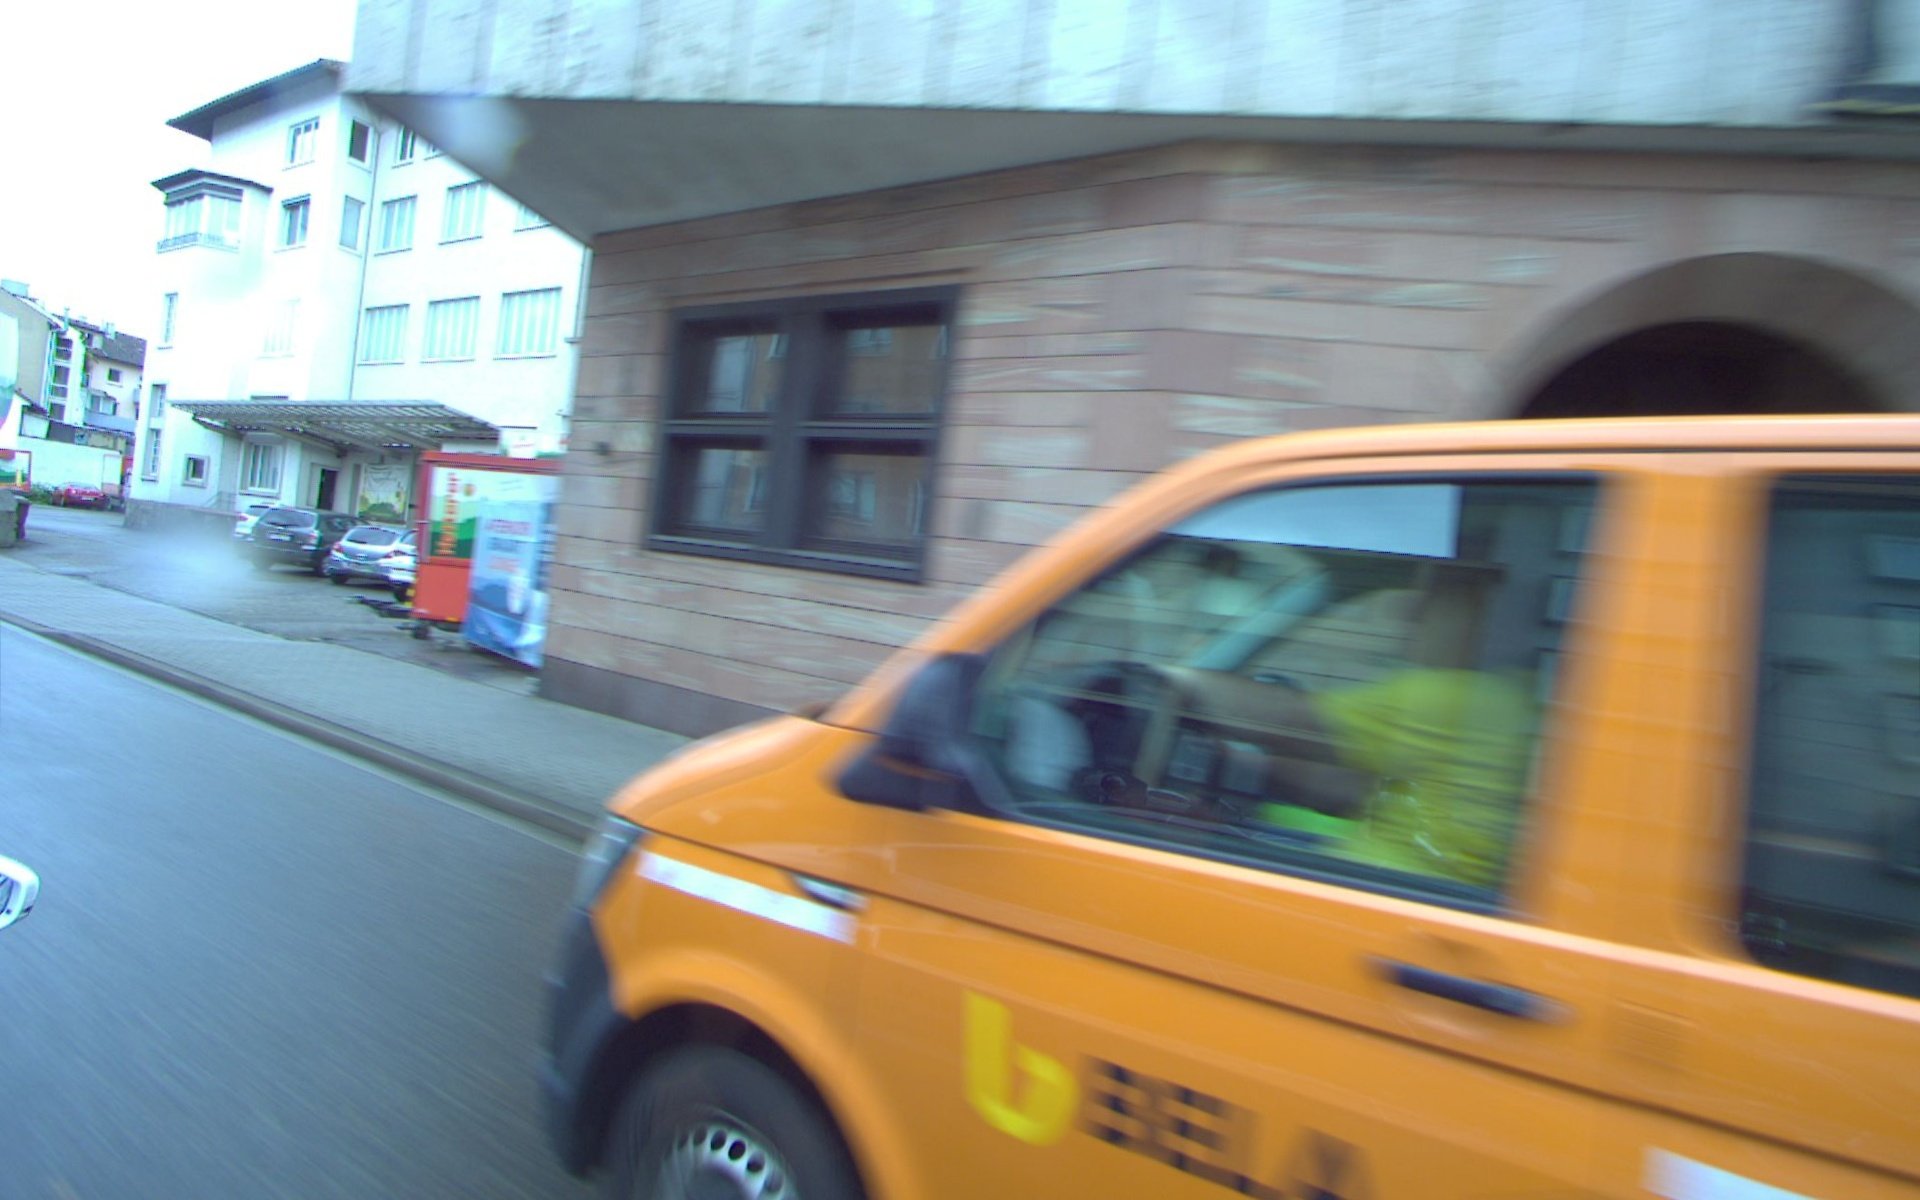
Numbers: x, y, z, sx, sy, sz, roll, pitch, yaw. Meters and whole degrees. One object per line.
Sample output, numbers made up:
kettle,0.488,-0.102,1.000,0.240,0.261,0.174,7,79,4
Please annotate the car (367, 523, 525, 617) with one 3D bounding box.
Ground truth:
car,-11.360,-0.688,22.596,1.837,1.670,4.265,7,1,-10

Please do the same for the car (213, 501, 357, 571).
car,-19.442,-1.781,29.197,1.895,1.587,3.973,7,0,-10

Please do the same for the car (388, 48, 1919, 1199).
car,1.646,0.605,1.707,5.449,2.117,2.102,7,2,31

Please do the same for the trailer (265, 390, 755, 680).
trailer,-6.213,-0.875,14.352,5.607,3.217,2.636,6,1,8

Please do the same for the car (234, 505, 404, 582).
car,-16.325,-1.380,25.886,1.739,1.603,3.996,7,1,-1

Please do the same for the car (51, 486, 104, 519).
car,-48.058,-5.304,54.756,3.216,1.475,1.588,7,1,39

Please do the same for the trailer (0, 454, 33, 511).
trailer,-50.726,-6.283,52.782,5.308,2.753,2.124,7,3,37

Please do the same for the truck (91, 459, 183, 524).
truck,-46.978,-6.223,57.348,6.827,3.258,2.628,7,2,39

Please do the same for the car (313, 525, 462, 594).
car,-13.964,-0.983,24.802,1.614,1.419,3.835,5,1,-4
